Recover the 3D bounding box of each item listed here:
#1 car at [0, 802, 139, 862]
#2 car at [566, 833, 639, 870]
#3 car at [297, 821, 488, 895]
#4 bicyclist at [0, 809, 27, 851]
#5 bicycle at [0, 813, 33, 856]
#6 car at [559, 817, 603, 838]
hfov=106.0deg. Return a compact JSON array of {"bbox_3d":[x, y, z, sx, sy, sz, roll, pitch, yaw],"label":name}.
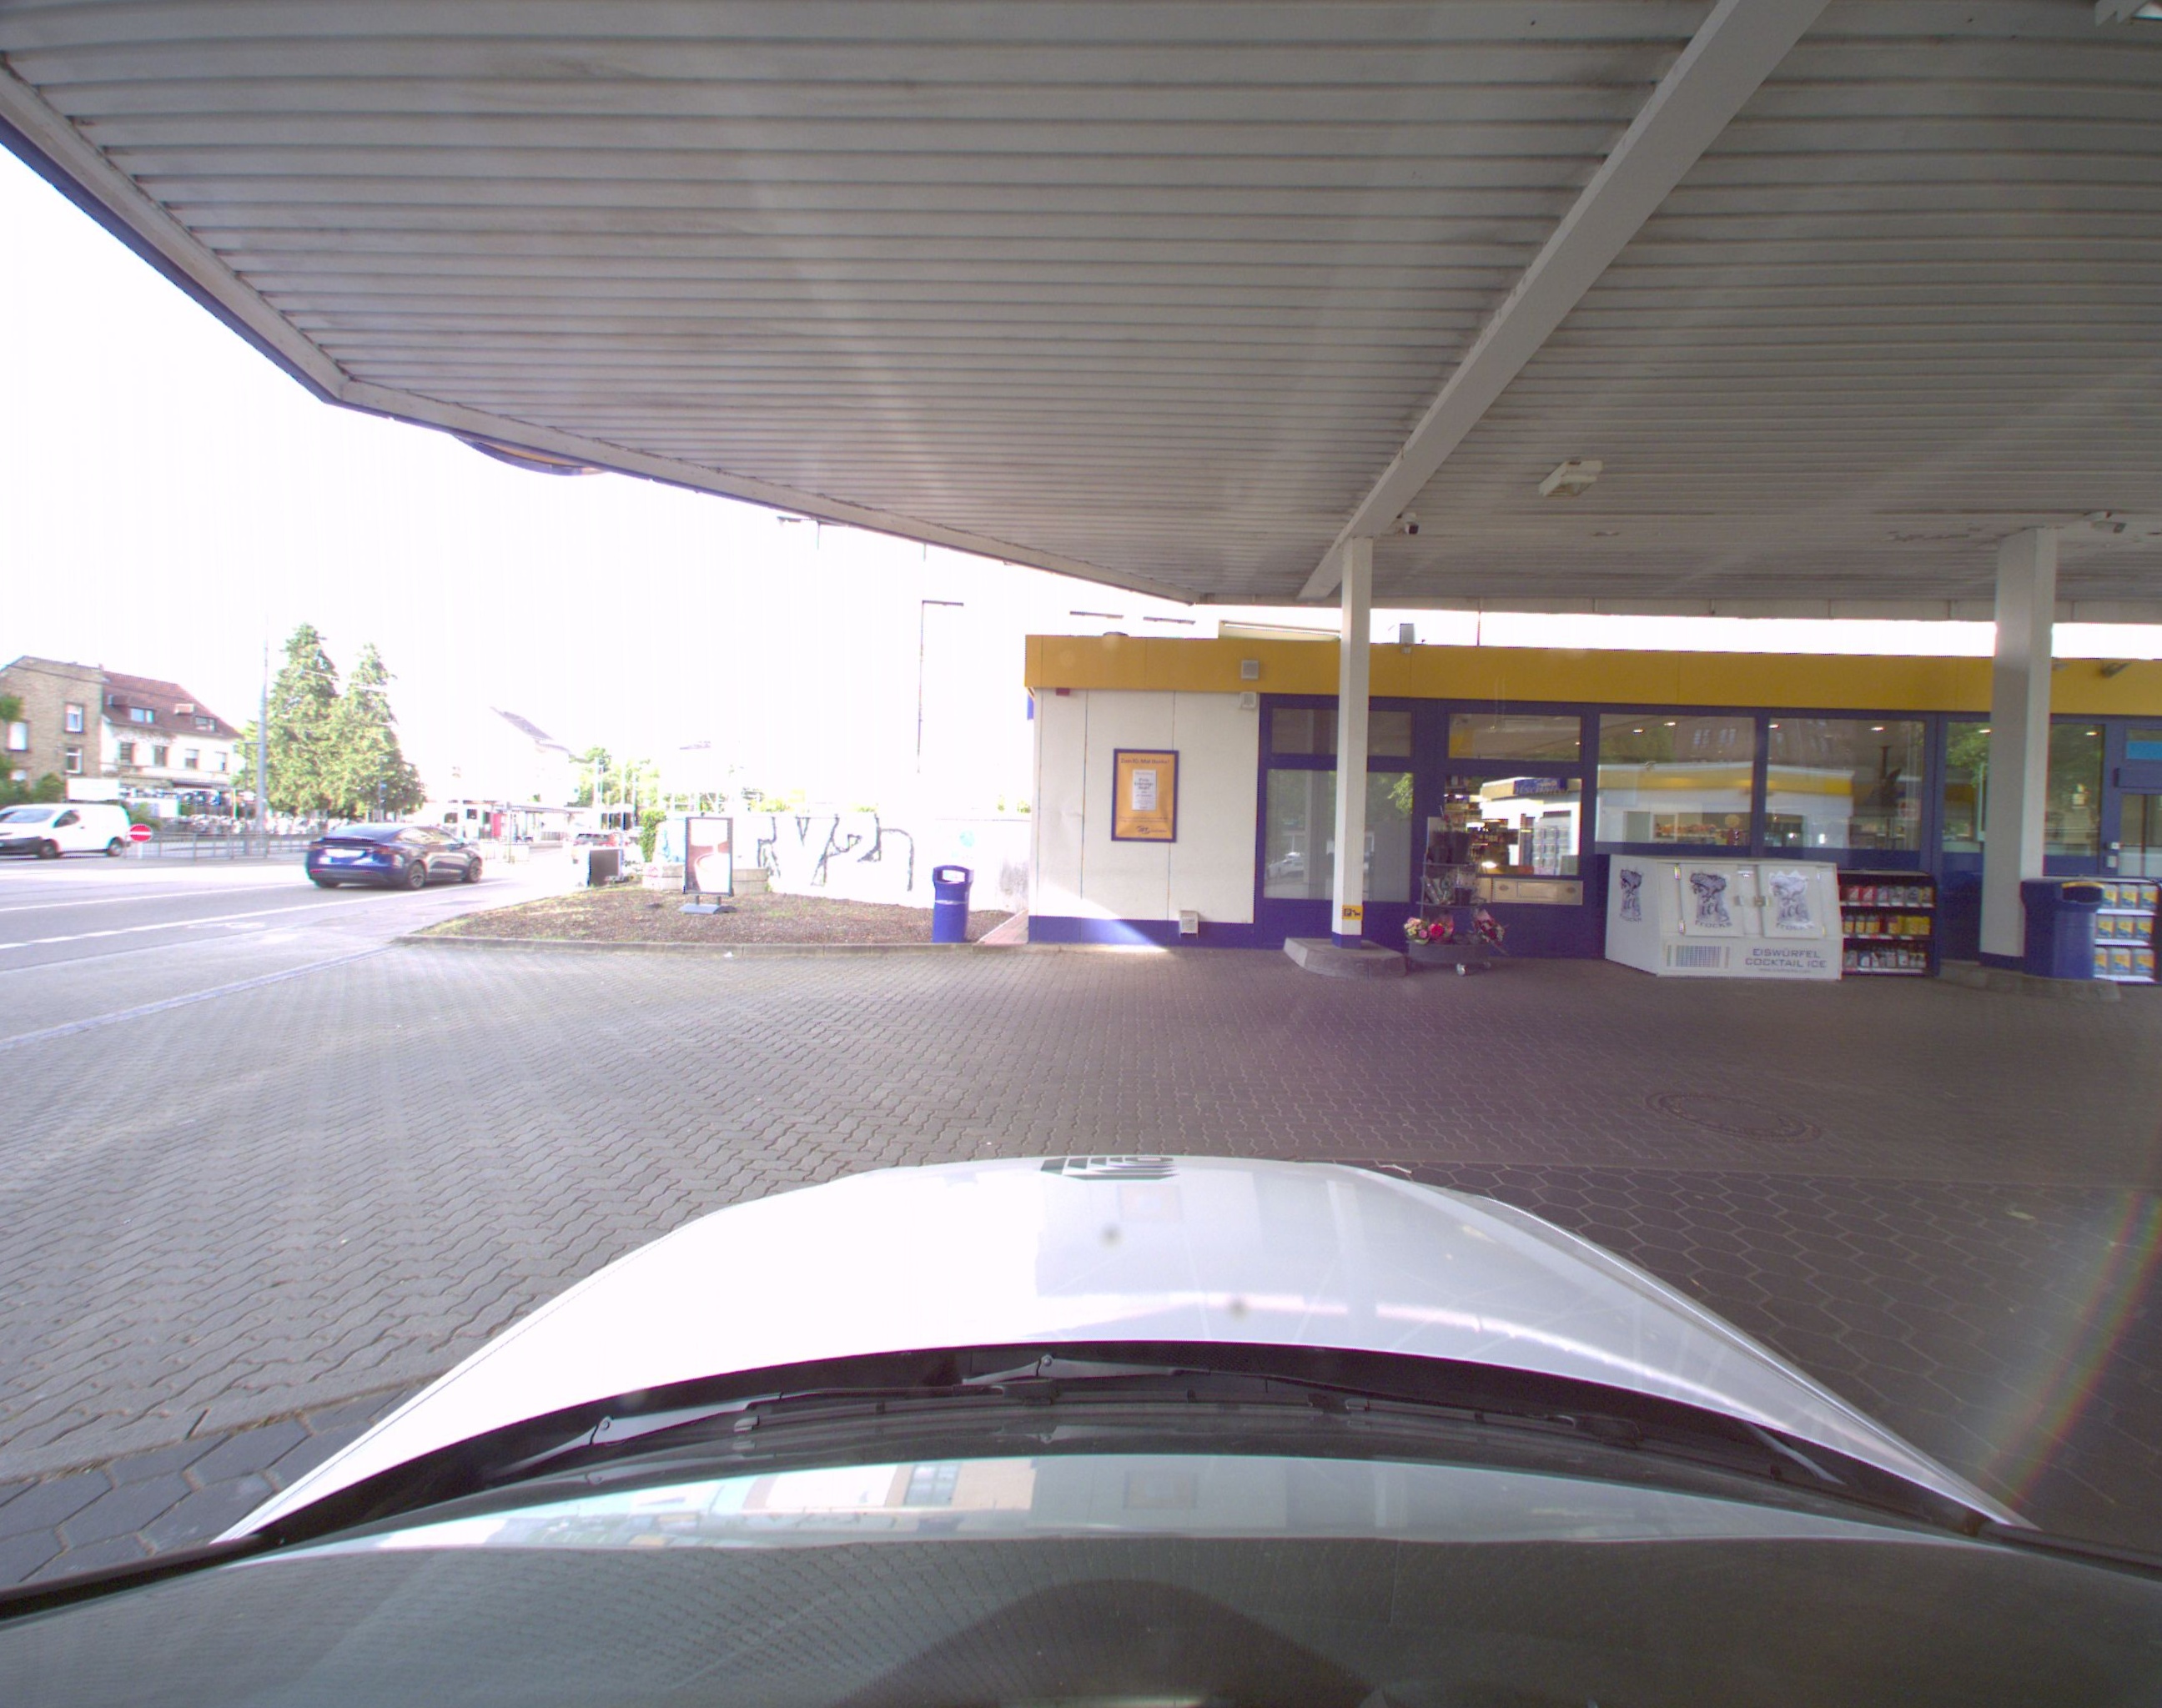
[{"bbox_3d":[-35.279,-0.733,27.803,1.967,1.889,4.386,1,0,-17],"label":"car"},{"bbox_3d":[-21.763,-0.147,37.201,1.767,1.543,4.111,2,0,-15],"label":"car"},{"bbox_3d":[-17.764,0.053,21.358,1.766,1.657,4.829,2,0,-14],"label":"car"},{"bbox_3d":[-39.955,-0.903,30.117,0.791,1.492,1.085,4,0,-33],"label":"bicyclist"},{"bbox_3d":[-39.966,-0.739,30.151,0.792,1.492,1.971,4,0,-34],"label":"bicycle"},{"bbox_3d":[-48.963,-2.556,79.811,1.994,1.968,4.872,1,1,-11],"label":"car"}]
